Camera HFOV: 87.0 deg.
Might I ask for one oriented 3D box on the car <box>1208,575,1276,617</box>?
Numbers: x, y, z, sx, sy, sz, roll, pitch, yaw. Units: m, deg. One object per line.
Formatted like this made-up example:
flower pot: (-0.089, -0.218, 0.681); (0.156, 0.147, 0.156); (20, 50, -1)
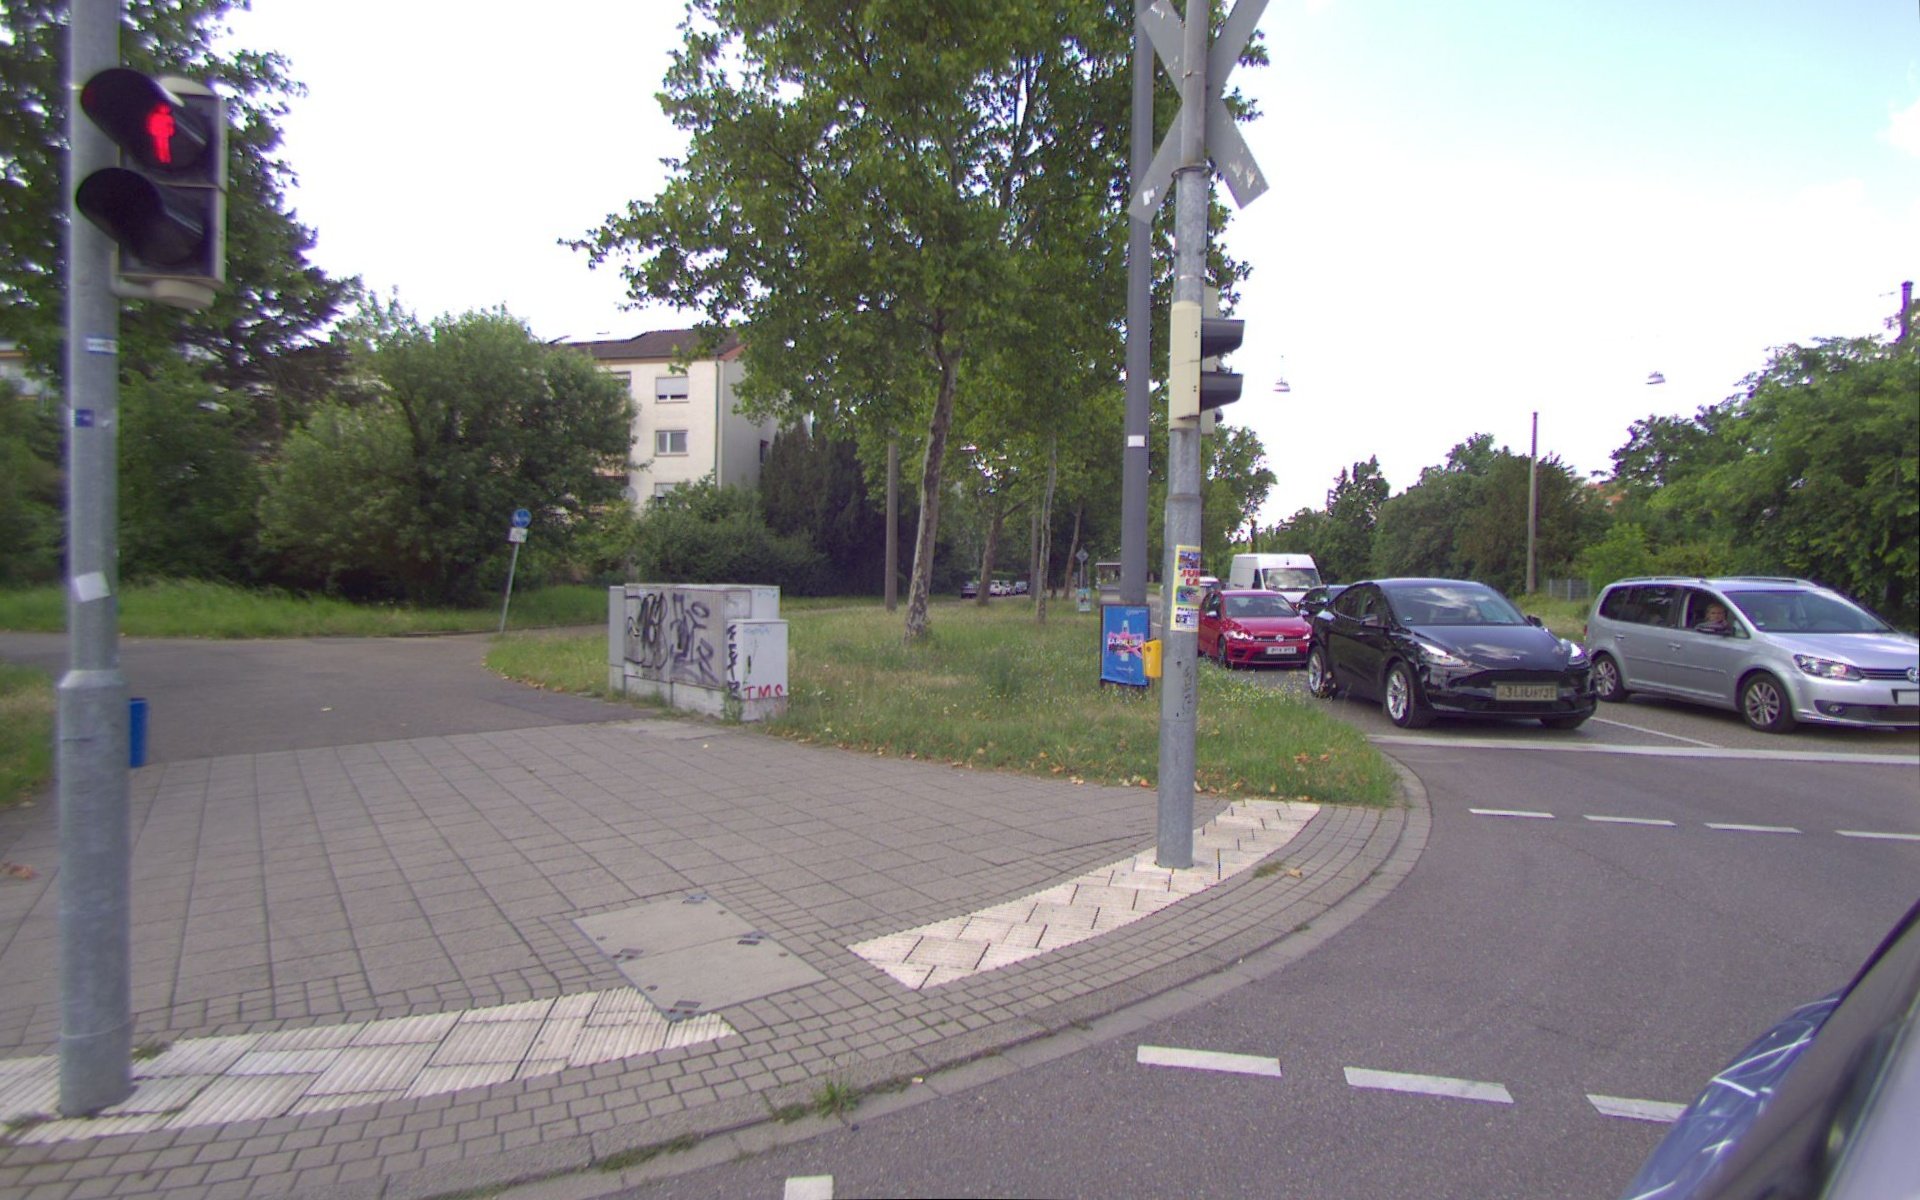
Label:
car: (11.628, -0.207, 41.952); (1.810, 1.638, 4.154); (0, 1, 3)

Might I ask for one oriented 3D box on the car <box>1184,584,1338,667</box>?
car: (5.778, 0.413, 19.992); (1.768, 1.408, 4.501); (-1, 1, 1)

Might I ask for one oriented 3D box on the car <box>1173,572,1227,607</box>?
car: (12.129, -0.555, 51.382); (1.732, 1.667, 4.343); (1, 1, 1)

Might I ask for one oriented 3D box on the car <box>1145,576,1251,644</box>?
car: (6.108, 0.188, 26.483); (1.768, 1.589, 4.501); (-1, 1, 1)

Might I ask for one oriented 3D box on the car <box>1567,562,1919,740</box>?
car: (9.354, 0.426, 11.798); (1.895, 1.672, 4.501); (-1, 1, 1)

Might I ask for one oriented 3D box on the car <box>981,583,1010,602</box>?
car: (3.232, -0.700, 92.627); (1.753, 1.616, 3.635); (1, -1, 17)

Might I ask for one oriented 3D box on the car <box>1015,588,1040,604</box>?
car: (7.201, -0.460, 107.603); (1.753, 1.616, 3.635); (1, -1, 17)

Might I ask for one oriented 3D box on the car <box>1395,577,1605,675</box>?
car: (9.526, 0.373, 18.258); (1.772, 1.527, 3.998); (-1, 1, 3)

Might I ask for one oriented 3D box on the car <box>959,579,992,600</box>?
car: (1.318, -0.833, 83.968); (1.753, 1.616, 3.635); (1, -1, 17)

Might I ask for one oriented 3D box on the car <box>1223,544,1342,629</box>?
car: (10.643, -0.481, 33.957); (2.186, 2.561, 5.932); (-1, 1, 1)

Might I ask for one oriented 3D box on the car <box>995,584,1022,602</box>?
car: (4.662, -0.626, 96.922); (1.753, 1.616, 3.635); (1, -1, 17)

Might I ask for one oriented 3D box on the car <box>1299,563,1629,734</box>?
car: (5.741, 0.426, 12.293); (1.897, 1.672, 4.577); (-1, 1, 3)

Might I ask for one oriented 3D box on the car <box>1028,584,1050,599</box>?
car: (8.997, -1.002, 115.272); (1.753, 1.616, 3.635); (1, -1, 17)

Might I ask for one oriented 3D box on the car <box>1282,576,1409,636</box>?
car: (9.902, 0.097, 26.367); (1.732, 1.392, 4.343); (-1, 1, 1)
